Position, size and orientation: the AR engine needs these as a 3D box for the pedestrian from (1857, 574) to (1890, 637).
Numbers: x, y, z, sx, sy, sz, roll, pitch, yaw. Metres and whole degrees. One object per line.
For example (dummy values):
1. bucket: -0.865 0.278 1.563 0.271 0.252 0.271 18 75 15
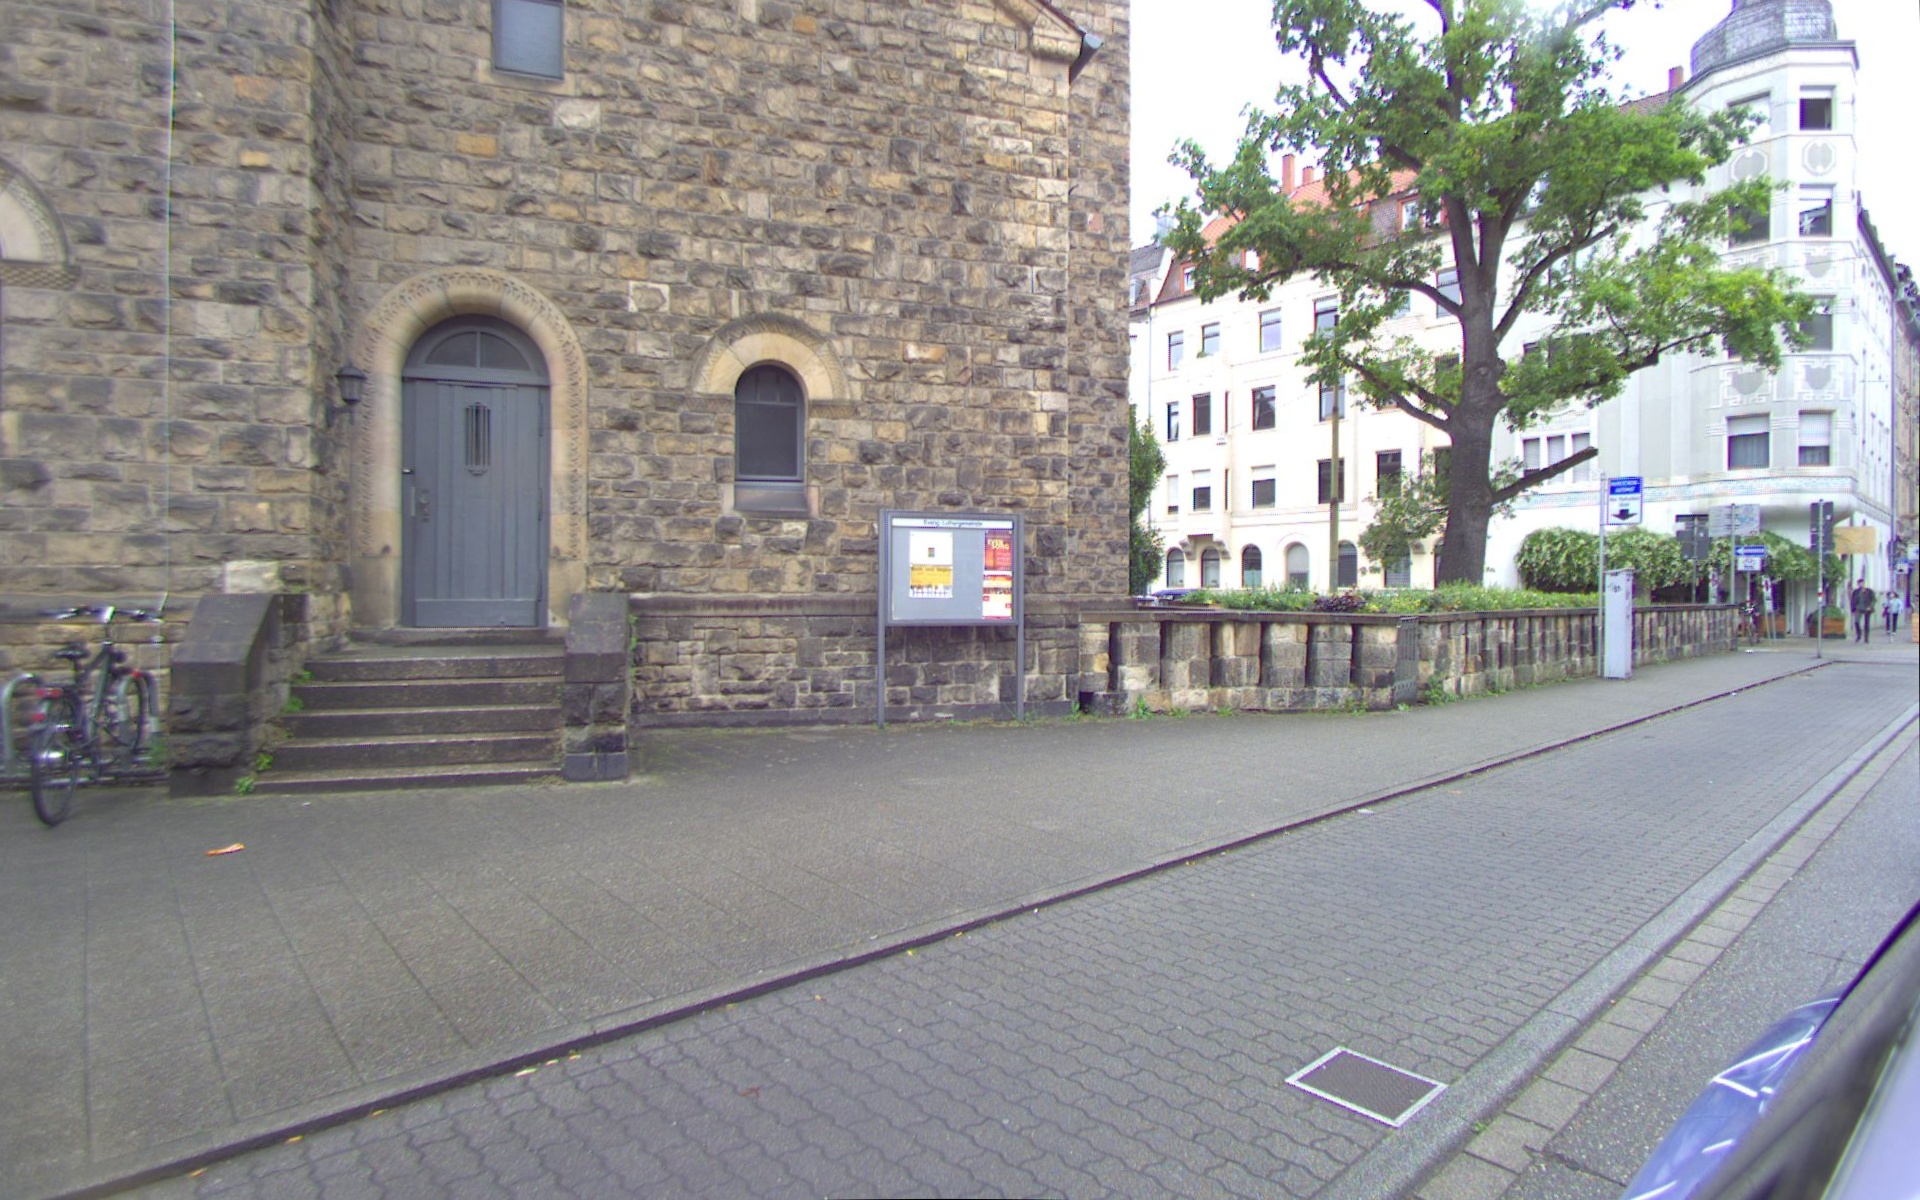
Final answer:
1. pedestrian: 27.847 0.149 30.843 0.681 1.896 0.645 0 1 -42

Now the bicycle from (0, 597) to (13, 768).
1. bicycle: -6.286 0.582 5.962 0.550 1.125 1.717 0 3 -27

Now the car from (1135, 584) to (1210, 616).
1. car: 9.918 -0.030 47.427 1.421 1.427 3.271 0 1 -38

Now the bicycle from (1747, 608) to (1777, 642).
1. bicycle: 24.476 0.747 30.874 1.990 0.904 0.390 -3 3 -42

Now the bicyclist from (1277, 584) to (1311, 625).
1. bicyclist: 12.846 0.151 38.895 0.527 1.549 1.134 0 0 -38

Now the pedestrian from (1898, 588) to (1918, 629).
1. pedestrian: 34.596 0.304 36.918 0.385 1.479 0.481 0 1 -42

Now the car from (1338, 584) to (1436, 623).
1. car: 16.859 0.117 40.062 1.421 1.427 3.271 0 1 -38

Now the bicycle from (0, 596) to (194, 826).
1. bicycle: -5.131 0.557 6.058 0.502 1.067 1.994 0 3 -27
